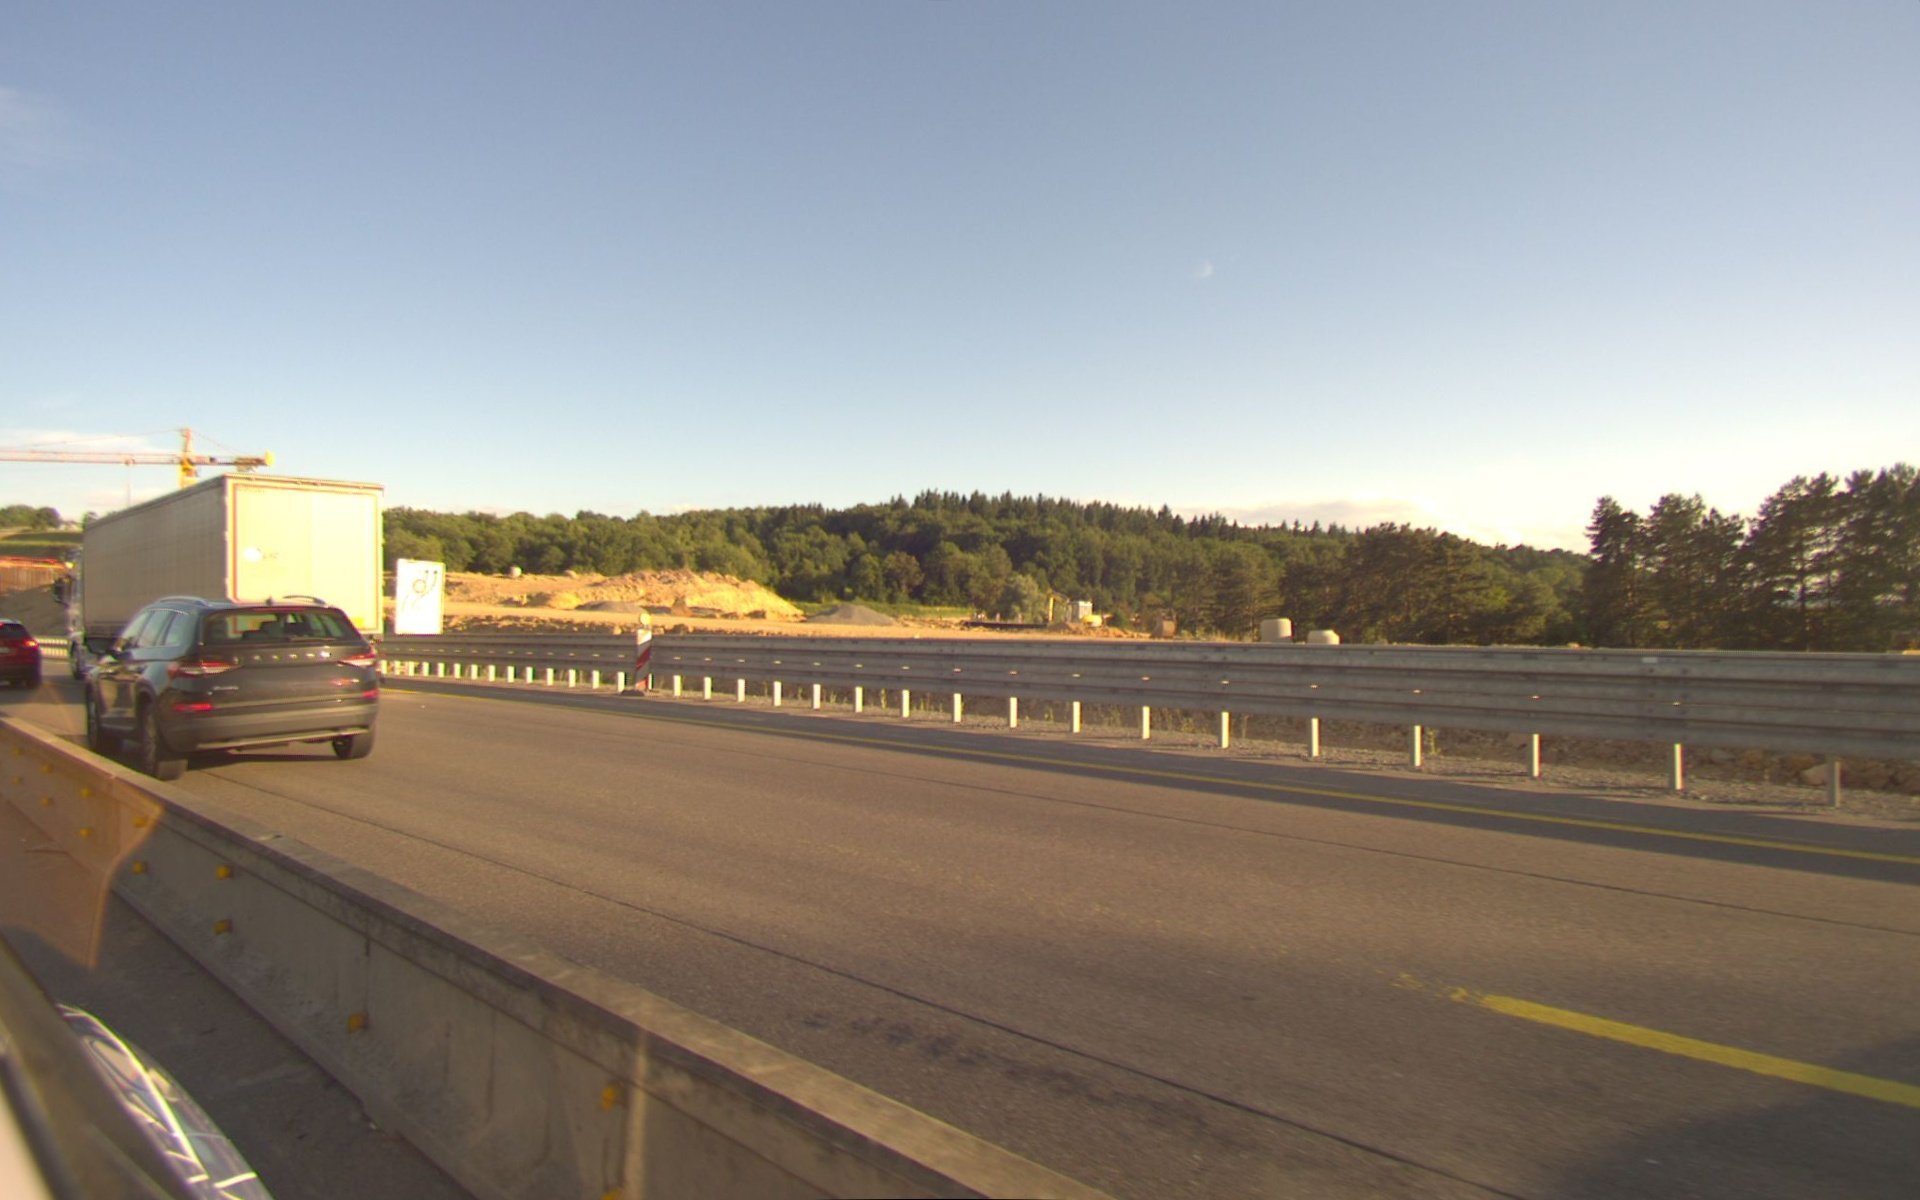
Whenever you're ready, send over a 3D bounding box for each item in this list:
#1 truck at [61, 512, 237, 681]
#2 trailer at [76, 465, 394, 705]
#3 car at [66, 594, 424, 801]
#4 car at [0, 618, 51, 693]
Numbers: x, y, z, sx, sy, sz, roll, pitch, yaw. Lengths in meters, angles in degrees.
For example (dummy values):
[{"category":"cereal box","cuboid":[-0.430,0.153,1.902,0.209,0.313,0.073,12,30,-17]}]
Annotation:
[{"category":"truck","cuboid":[-21.955,-0.020,27.322,5.670,4.079,2.785,-1,-1,42]},{"category":"trailer","cuboid":[-16.957,-0.122,22.898,14.014,4.081,2.785,-1,-1,41]},{"category":"car","cuboid":[-7.477,0.816,10.405,4.509,1.657,1.973,-1,0,41]},{"category":"car","cuboid":[-22.820,1.255,23.505,4.603,1.631,1.973,-1,-1,41]}]
